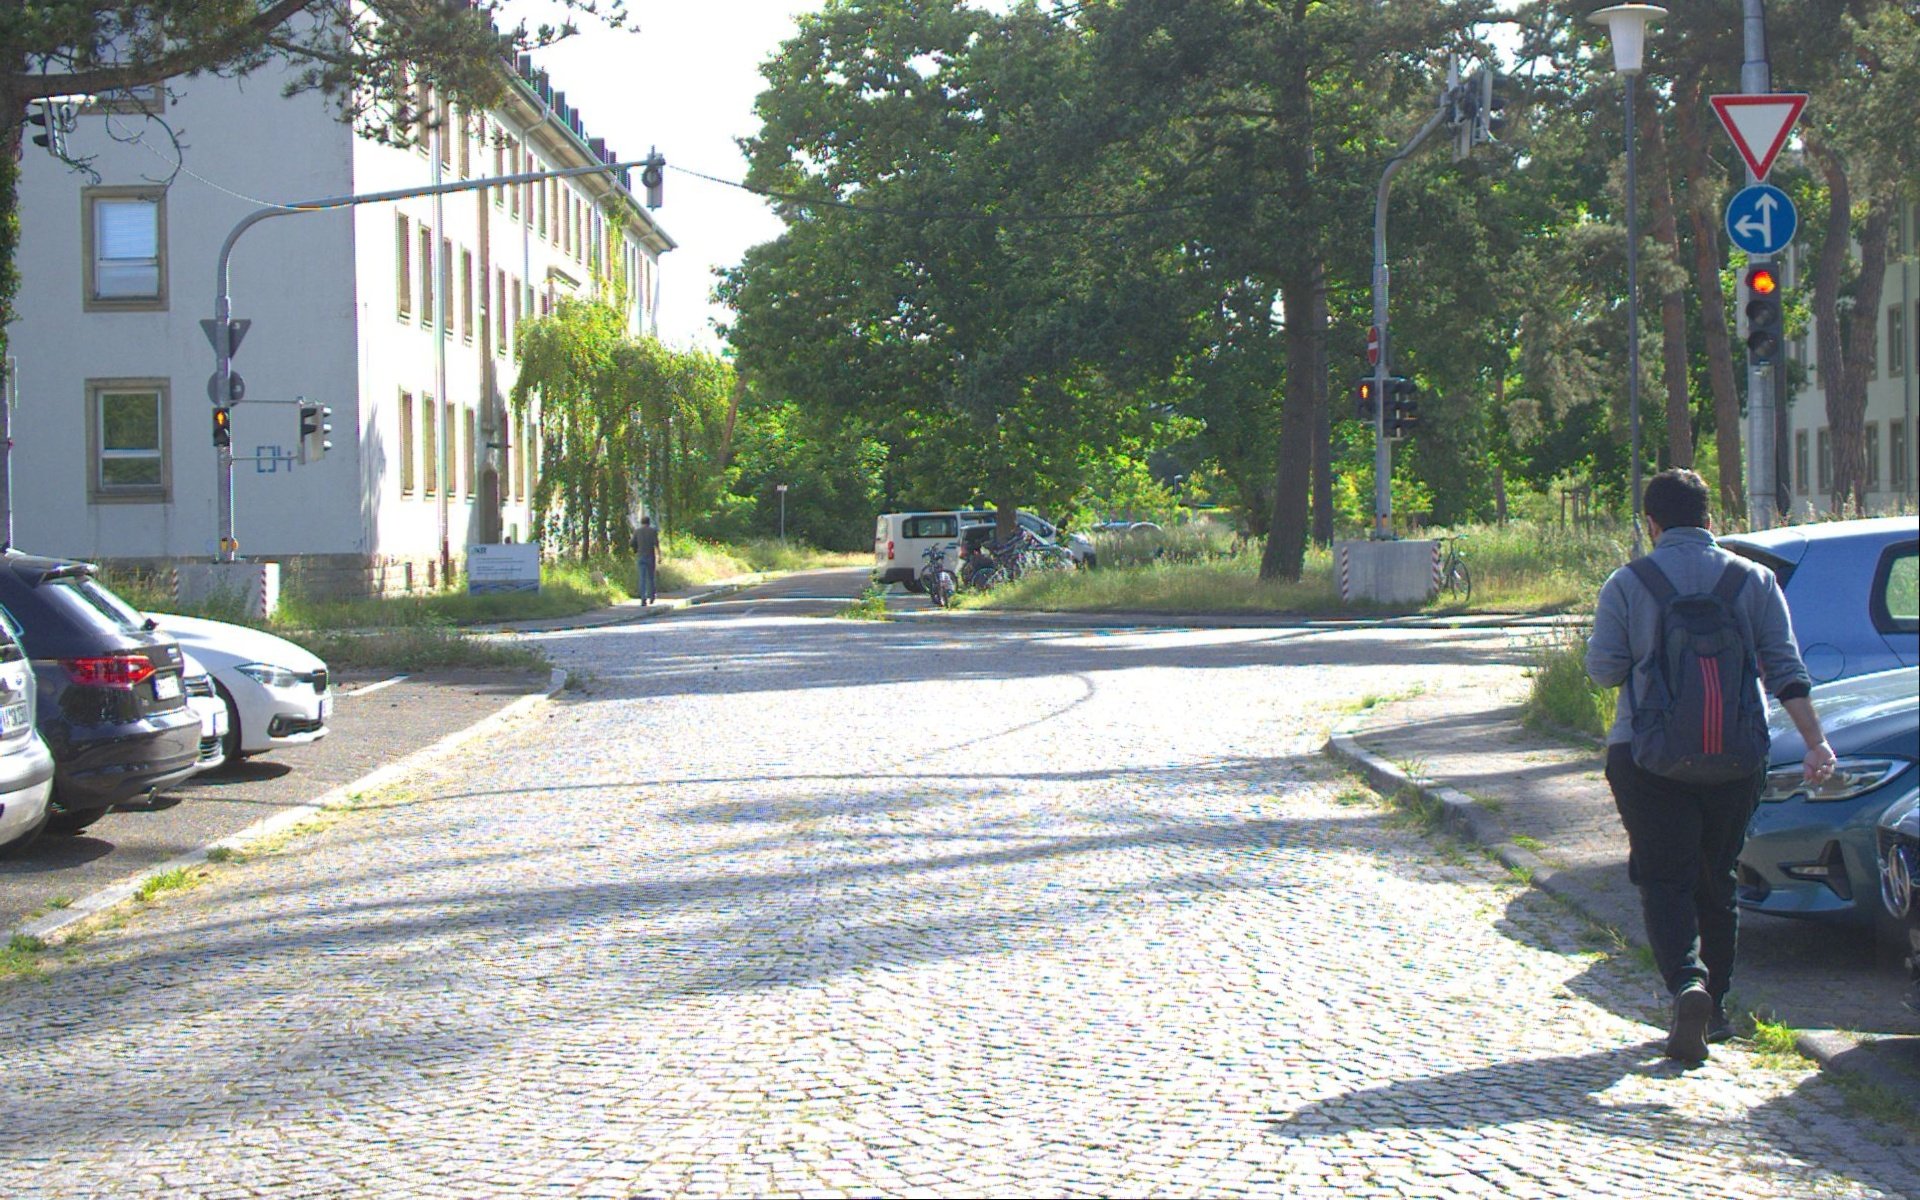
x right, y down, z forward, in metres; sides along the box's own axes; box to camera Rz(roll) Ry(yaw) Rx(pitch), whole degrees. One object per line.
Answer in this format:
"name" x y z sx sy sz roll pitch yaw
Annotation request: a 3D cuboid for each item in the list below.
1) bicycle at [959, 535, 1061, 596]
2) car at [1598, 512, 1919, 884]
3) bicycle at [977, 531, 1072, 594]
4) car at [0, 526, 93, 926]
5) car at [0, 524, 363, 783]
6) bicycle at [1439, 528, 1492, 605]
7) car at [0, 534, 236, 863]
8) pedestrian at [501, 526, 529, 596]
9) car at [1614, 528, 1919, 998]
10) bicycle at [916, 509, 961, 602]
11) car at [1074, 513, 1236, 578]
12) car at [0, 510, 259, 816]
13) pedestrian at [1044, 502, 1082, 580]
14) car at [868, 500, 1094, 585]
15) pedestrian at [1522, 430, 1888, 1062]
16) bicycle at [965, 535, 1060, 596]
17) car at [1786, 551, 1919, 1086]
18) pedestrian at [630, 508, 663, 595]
"bicycle" 0.917 -0.639 63.595 1.834 1.108 0.495 -1 1 -3
"car" 4.737 0.329 14.644 3.673 1.438 1.665 -2 1 0
"bicycle" 1.213 -0.706 64.819 1.727 1.160 0.561 -1 1 -3
"car" -5.543 0.426 13.833 3.685 1.522 1.699 2 1 -2
"car" -5.993 0.281 21.855 3.987 1.491 1.772 2 2 5
"bicycle" 7.608 -0.518 51.676 0.722 1.111 2.583 -1 1 9
"car" -5.637 0.374 16.494 3.937 1.440 1.691 2 1 -1
"pedestrian" -10.030 -0.886 77.551 0.606 1.554 0.545 -1 1 -7
"car" 4.842 0.418 12.111 4.619 1.450 1.870 -3 2 -2
"bicycle" -0.381 -0.789 60.035 0.753 1.575 2.537 0 1 -1
"car" 4.830 -1.366 85.437 3.743 1.574 1.742 -1 1 -7
"car" -6.047 0.286 19.264 3.879 1.610 1.661 2 1 -1
"pedestrian" 2.382 -1.375 79.815 0.759 1.777 0.684 -1 1 -8
"car" 0.469 -1.373 81.475 5.065 1.911 2.001 -1 1 -9
"pedestrian" 2.148 0.399 10.014 0.753 1.719 0.828 4 1 -1
"bicycle" 0.982 -0.652 64.139 1.727 1.108 0.484 -1 1 -3
"car" 4.694 0.503 9.372 4.399 1.384 1.789 -2 1 -1
"pedestrian" -6.288 -0.973 69.024 0.607 1.746 0.630 0 1 -1
